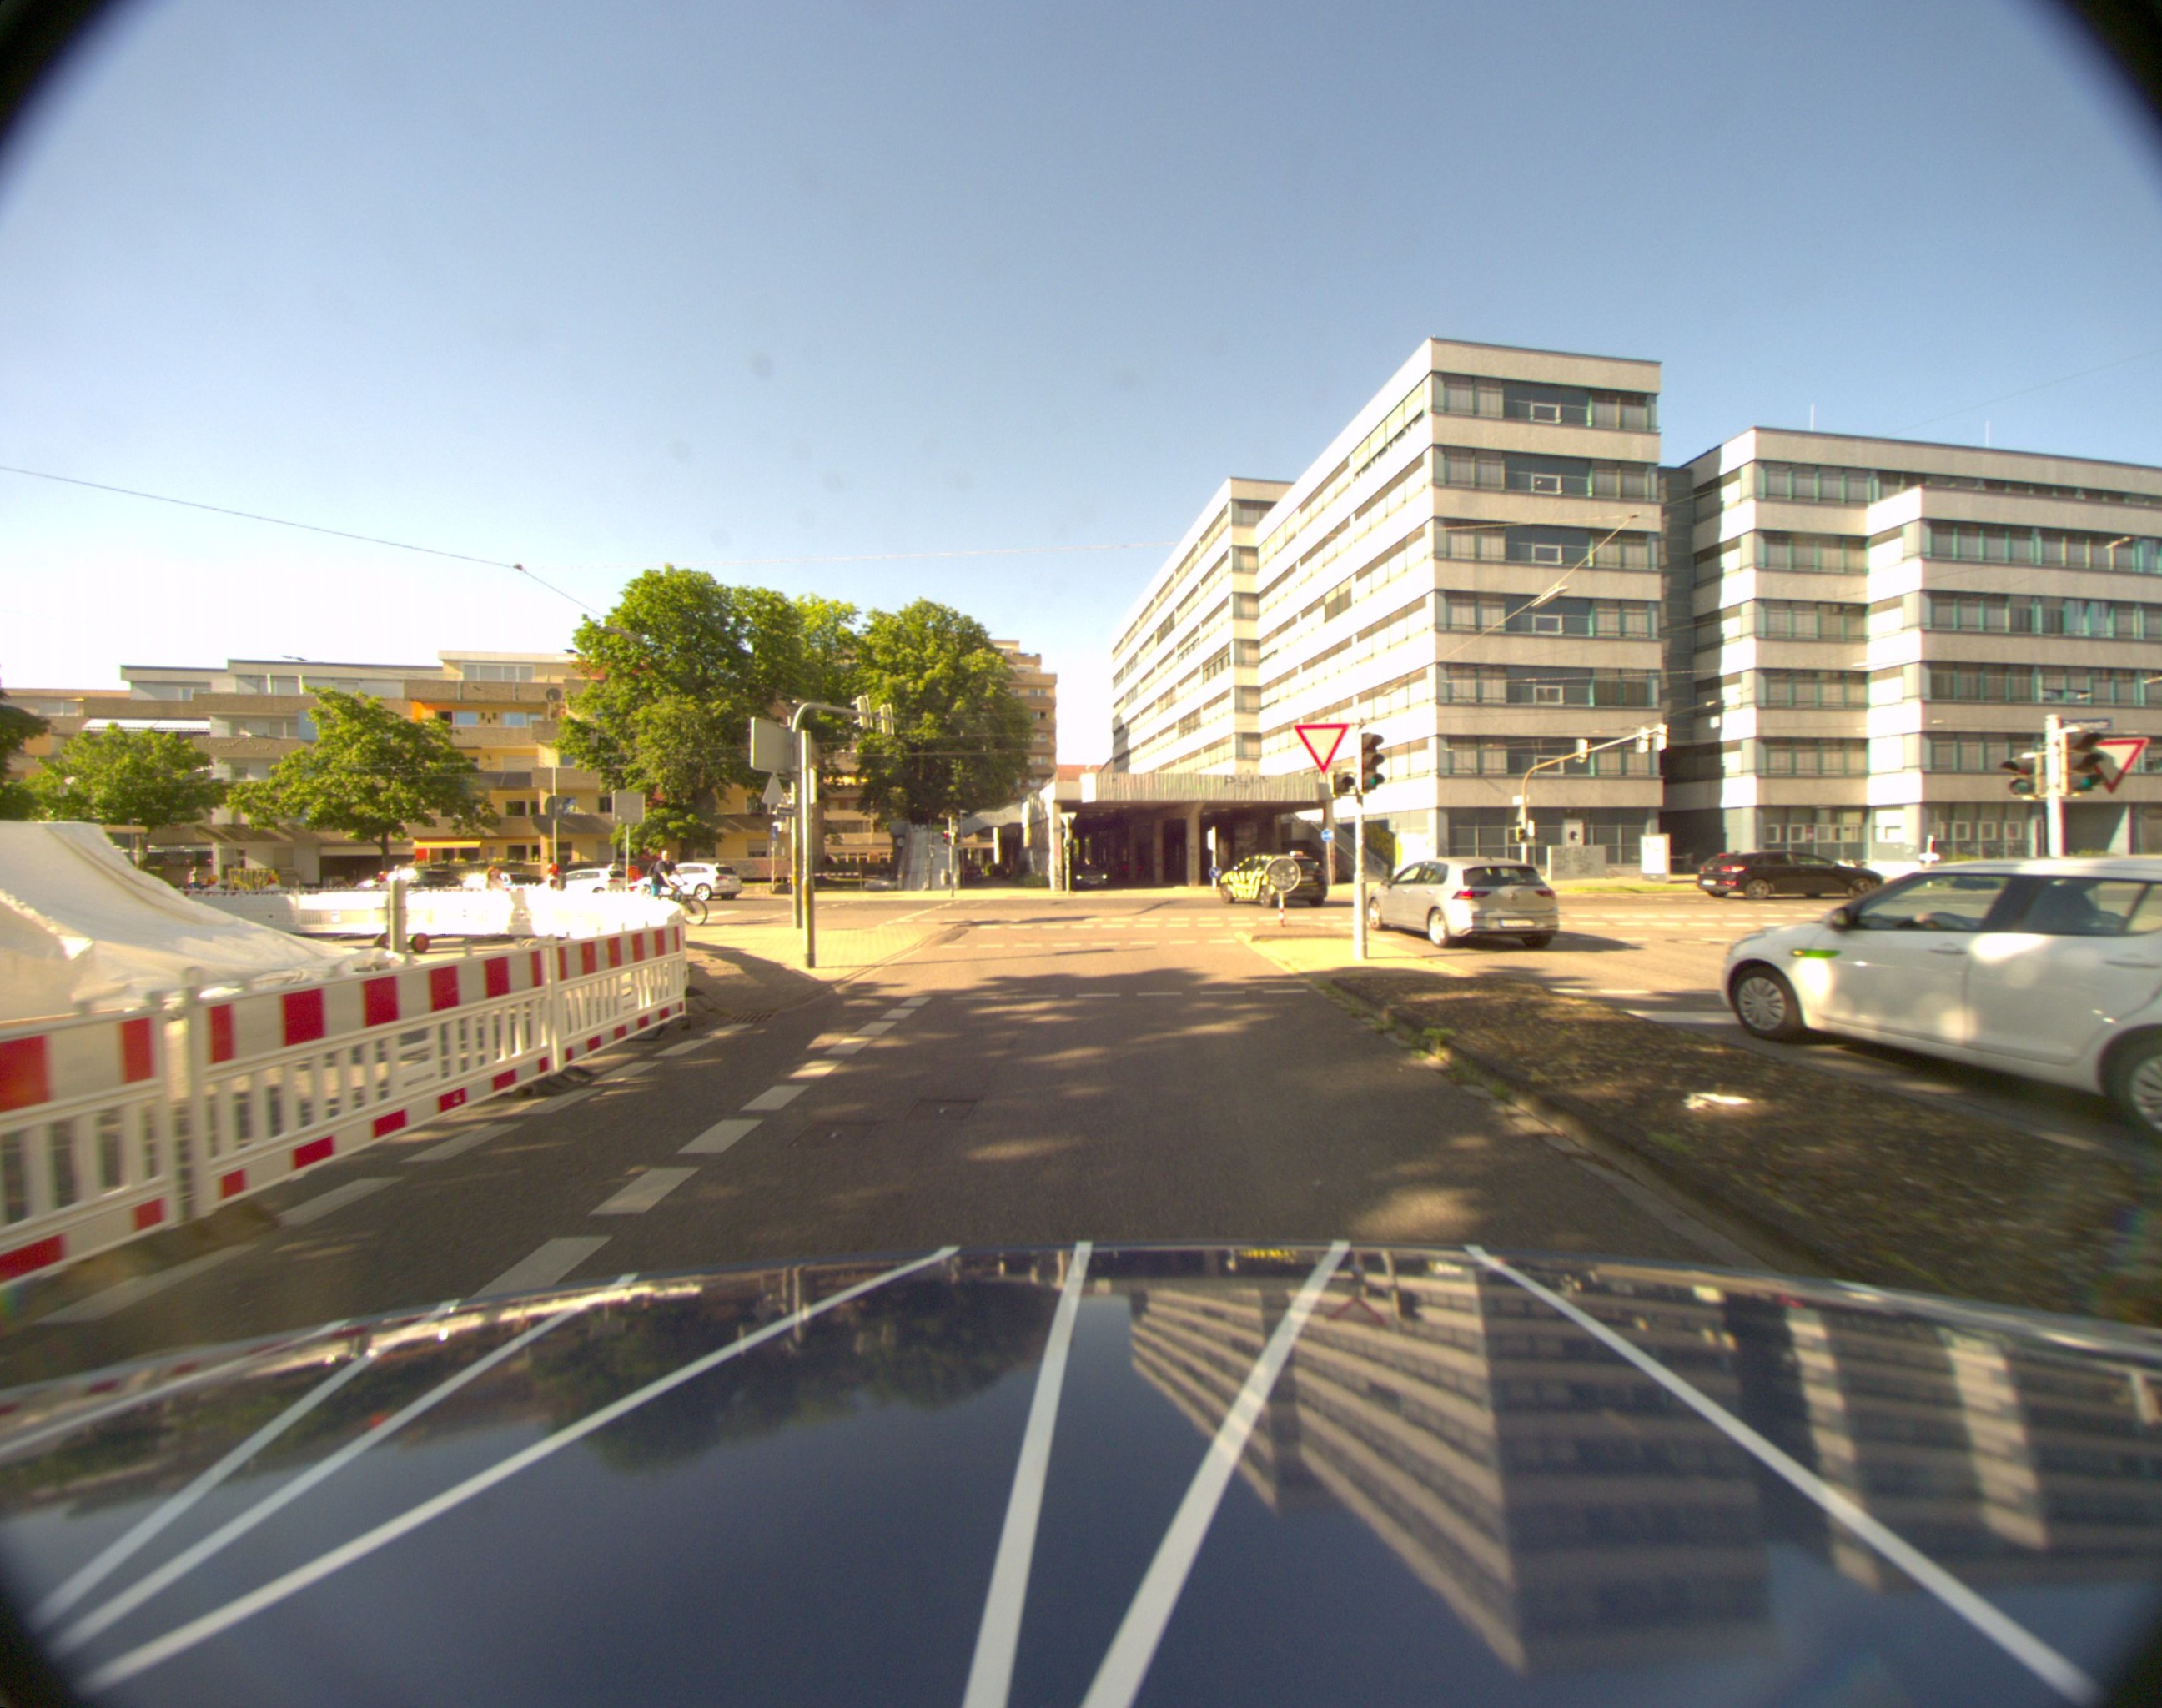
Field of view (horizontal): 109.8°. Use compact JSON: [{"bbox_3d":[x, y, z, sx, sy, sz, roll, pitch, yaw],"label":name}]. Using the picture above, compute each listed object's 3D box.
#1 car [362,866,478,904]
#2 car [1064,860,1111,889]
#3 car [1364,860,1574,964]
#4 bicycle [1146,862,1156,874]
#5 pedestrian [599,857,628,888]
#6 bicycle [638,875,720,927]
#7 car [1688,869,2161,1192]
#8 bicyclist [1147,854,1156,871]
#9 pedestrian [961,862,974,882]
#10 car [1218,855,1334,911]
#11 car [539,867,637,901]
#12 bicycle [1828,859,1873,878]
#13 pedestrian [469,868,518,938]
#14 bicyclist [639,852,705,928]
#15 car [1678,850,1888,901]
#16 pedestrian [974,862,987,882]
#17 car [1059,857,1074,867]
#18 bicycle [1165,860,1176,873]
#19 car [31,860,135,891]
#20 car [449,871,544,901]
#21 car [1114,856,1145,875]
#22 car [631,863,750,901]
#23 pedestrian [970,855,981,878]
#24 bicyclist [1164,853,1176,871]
[{"bbox_3d":[-28.578,1.319,32.901,3.750,1.508,1.789,-1,0,9],"label":"car"},{"bbox_3d":[0.294,1.171,45.214,1.959,1.546,5.036,-2,0,-9],"label":"car"},{"bbox_3d":[6.492,0.881,13.223,1.712,1.444,3.850,-1,1,0],"label":"car"},{"bbox_3d":[6.900,1.350,74.609,0.527,1.084,1.858,-1,0,-9],"label":"bicycle"},{"bbox_3d":[-24.045,0.938,39.091,0.932,1.543,0.879,-1,0,18],"label":"pedestrian"},{"bbox_3d":[-9.991,1.153,18.913,1.781,1.258,0.655,0,0,11],"label":"bicycle"},{"bbox_3d":[6.150,0.896,4.763,1.709,1.504,3.864,1,0,3],"label":"car"},{"bbox_3d":[6.911,0.863,74.470,0.608,1.623,0.909,-1,0,-9],"label":"bicyclist"},{"bbox_3d":[-7.457,1.183,49.846,0.741,1.291,0.613,-1,0,-16],"label":"pedestrian"},{"bbox_3d":[5.691,0.793,22.724,1.794,1.505,4.112,-1,0,-11],"label":"car"},{"bbox_3d":[-22.582,1.358,34.890,3.503,1.522,1.657,0,-1,6],"label":"car"},{"bbox_3d":[41.342,0.783,40.853,0.487,0.975,1.899,-2,1,0],"label":"bicycle"},{"bbox_3d":[-13.737,1.138,17.780,0.638,1.591,0.636,-1,1,18],"label":"pedestrian"},{"bbox_3d":[-10.134,0.880,18.871,1.094,1.820,0.915,0,0,10],"label":"bicyclist"},{"bbox_3d":[20.841,0.609,22.739,4.319,1.443,1.808,0,0,10],"label":"car"},{"bbox_3d":[-6.623,1.156,50.087,0.725,1.291,0.589,-1,0,-16],"label":"pedestrian"},{"bbox_3d":[-2.113,1.146,108.426,1.663,1.432,3.460,-1,0,-10],"label":"car"},{"bbox_3d":[8.166,1.141,69.539,0.543,1.116,2.057,-1,0,-7],"label":"bicycle"},{"bbox_3d":[-51.962,1.109,39.598,3.531,1.538,1.812,0,-1,9],"label":"car"},{"bbox_3d":[-27.221,1.473,35.431,3.288,1.397,1.667,0,-1,7],"label":"car"},{"bbox_3d":[4.401,1.016,69.602,1.891,1.600,4.144,-1,0,-11],"label":"car"},{"bbox_3d":[-17.148,1.195,33.434,4.316,1.610,1.937,0,0,9],"label":"car"},{"bbox_3d":[-7.609,0.910,54.795,0.658,1.681,0.589,-1,0,-16],"label":"pedestrian"},{"bbox_3d":[8.140,0.761,69.625,0.784,1.650,1.030,-1,0,-8],"label":"bicyclist"}]
